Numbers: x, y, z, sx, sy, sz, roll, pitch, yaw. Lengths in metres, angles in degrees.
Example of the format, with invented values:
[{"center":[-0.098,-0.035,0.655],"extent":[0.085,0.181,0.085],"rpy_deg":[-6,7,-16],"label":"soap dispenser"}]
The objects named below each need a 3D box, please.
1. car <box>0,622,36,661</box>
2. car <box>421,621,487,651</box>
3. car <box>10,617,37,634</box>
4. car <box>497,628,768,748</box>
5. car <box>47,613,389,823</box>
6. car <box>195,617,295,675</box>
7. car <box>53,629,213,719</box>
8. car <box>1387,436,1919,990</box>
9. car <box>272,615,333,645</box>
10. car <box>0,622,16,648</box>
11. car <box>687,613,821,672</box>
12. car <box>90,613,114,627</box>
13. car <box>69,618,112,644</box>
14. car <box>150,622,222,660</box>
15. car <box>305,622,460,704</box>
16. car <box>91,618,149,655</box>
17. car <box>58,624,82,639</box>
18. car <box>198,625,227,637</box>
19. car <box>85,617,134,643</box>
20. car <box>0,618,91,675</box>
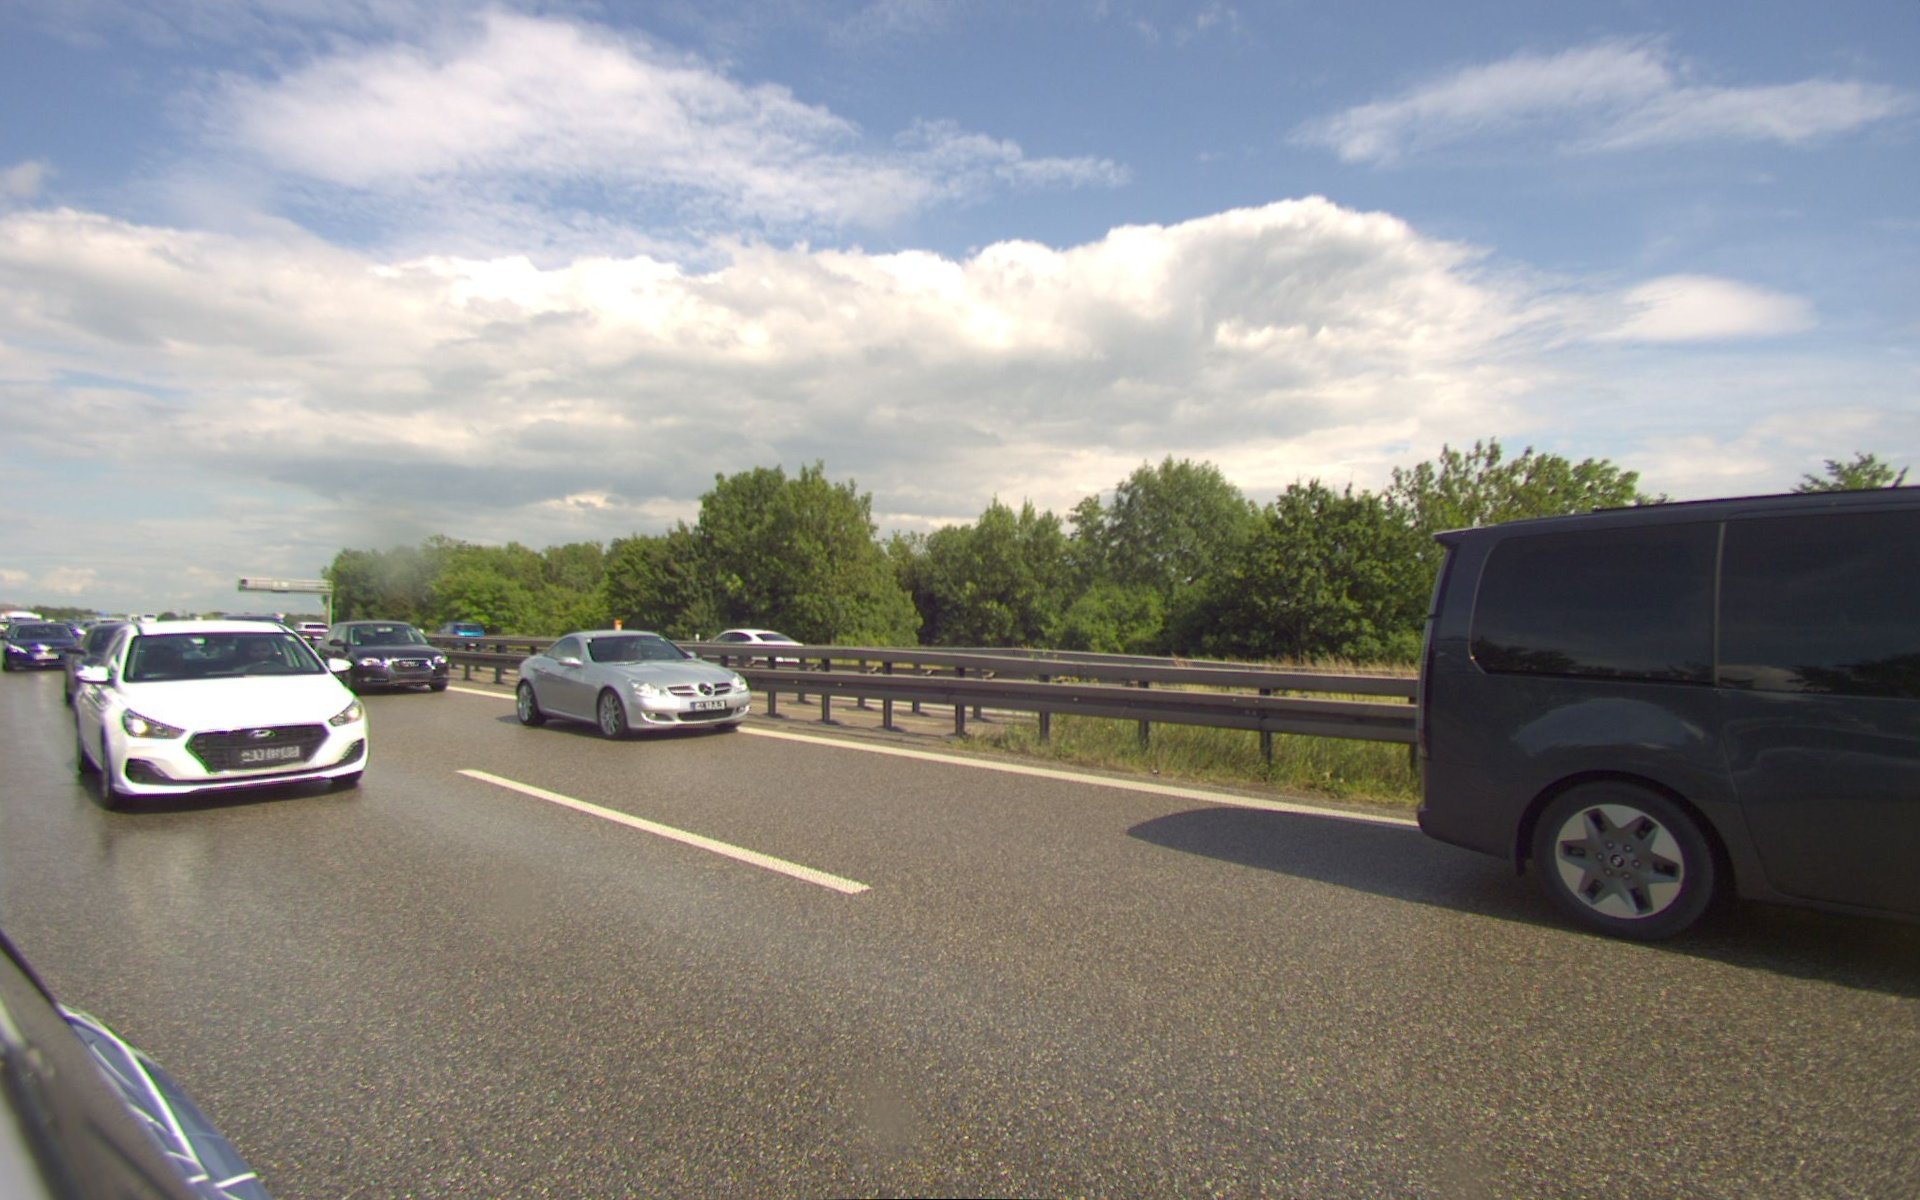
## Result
[{"center":[-40.389,1.723,42.596],"extent":[4.002,1.490,1.971],"rpy_deg":[0,1,45],"label":"car"},{"center":[-24.779,1.742,49.509],"extent":[3.878,1.390,1.737],"rpy_deg":[-1,-2,44],"label":"car"},{"center":[-102.429,2.751,110.619],"extent":[4.002,1.710,1.971],"rpy_deg":[0,1,45],"label":"car"},{"center":[-4.386,1.028,13.198],"extent":[4.065,1.288,1.705],"rpy_deg":[-1,-2,45],"label":"car"},{"center":[-7.007,0.873,9.341],"extent":[4.550,1.466,1.860],"rpy_deg":[-1,-2,45],"label":"car"},{"center":[-21.780,1.336,30.761],"extent":[1.848,1.618,4.232],"rpy_deg":[0,-1,-44],"label":"car"},{"center":[-14.363,1.183,17.492],"extent":[4.289,1.348,1.705],"rpy_deg":[-1,-2,45],"label":"car"},{"center":[4.704,0.409,3.916],"extent":[5.272,2.029,1.971],"rpy_deg":[-1,-2,45],"label":"car"},{"center":[-37.472,1.711,57.667],"extent":[3.999,1.636,1.972],"rpy_deg":[-1,-1,42],"label":"car"},{"center":[-58.296,2.103,60.937],"extent":[4.002,1.490,1.971],"rpy_deg":[0,1,45],"label":"car"},{"center":[-6.547,1.292,31.874],"extent":[4.462,1.700,1.971],"rpy_deg":[-1,-2,44],"label":"car"},{"center":[-111.157,2.590,131.083],"extent":[1.971,1.792,4.463],"rpy_deg":[1,-1,-45],"label":"car"},{"center":[-61.796,2.175,71.900],"extent":[4.002,1.710,1.971],"rpy_deg":[0,1,45],"label":"car"},{"center":[-31.204,1.625,40.782],"extent":[4.002,1.389,1.747],"rpy_deg":[0,-1,45],"label":"car"},{"center":[-11.680,1.176,20.357],"extent":[1.746,1.436,4.142],"rpy_deg":[0,0,-44],"label":"car"},{"center":[-44.364,1.884,53.405],"extent":[4.002,1.762,1.971],"rpy_deg":[0,1,45],"label":"car"},{"center":[-111.744,3.885,127.079],"extent":[4.002,1.710,1.971],"rpy_deg":[0,1,45],"label":"car"},{"center":[-97.594,4.039,132.077],"extent":[5.037,1.498,2.094],"rpy_deg":[-1,-2,43],"label":"car"},{"center":[-52.931,1.838,62.966],"extent":[4.002,1.490,1.971],"rpy_deg":[0,1,45],"label":"car"},{"center":[-27.803,1.357,30.606],"extent":[4.002,1.497,1.971],"rpy_deg":[0,1,45],"label":"car"}]
